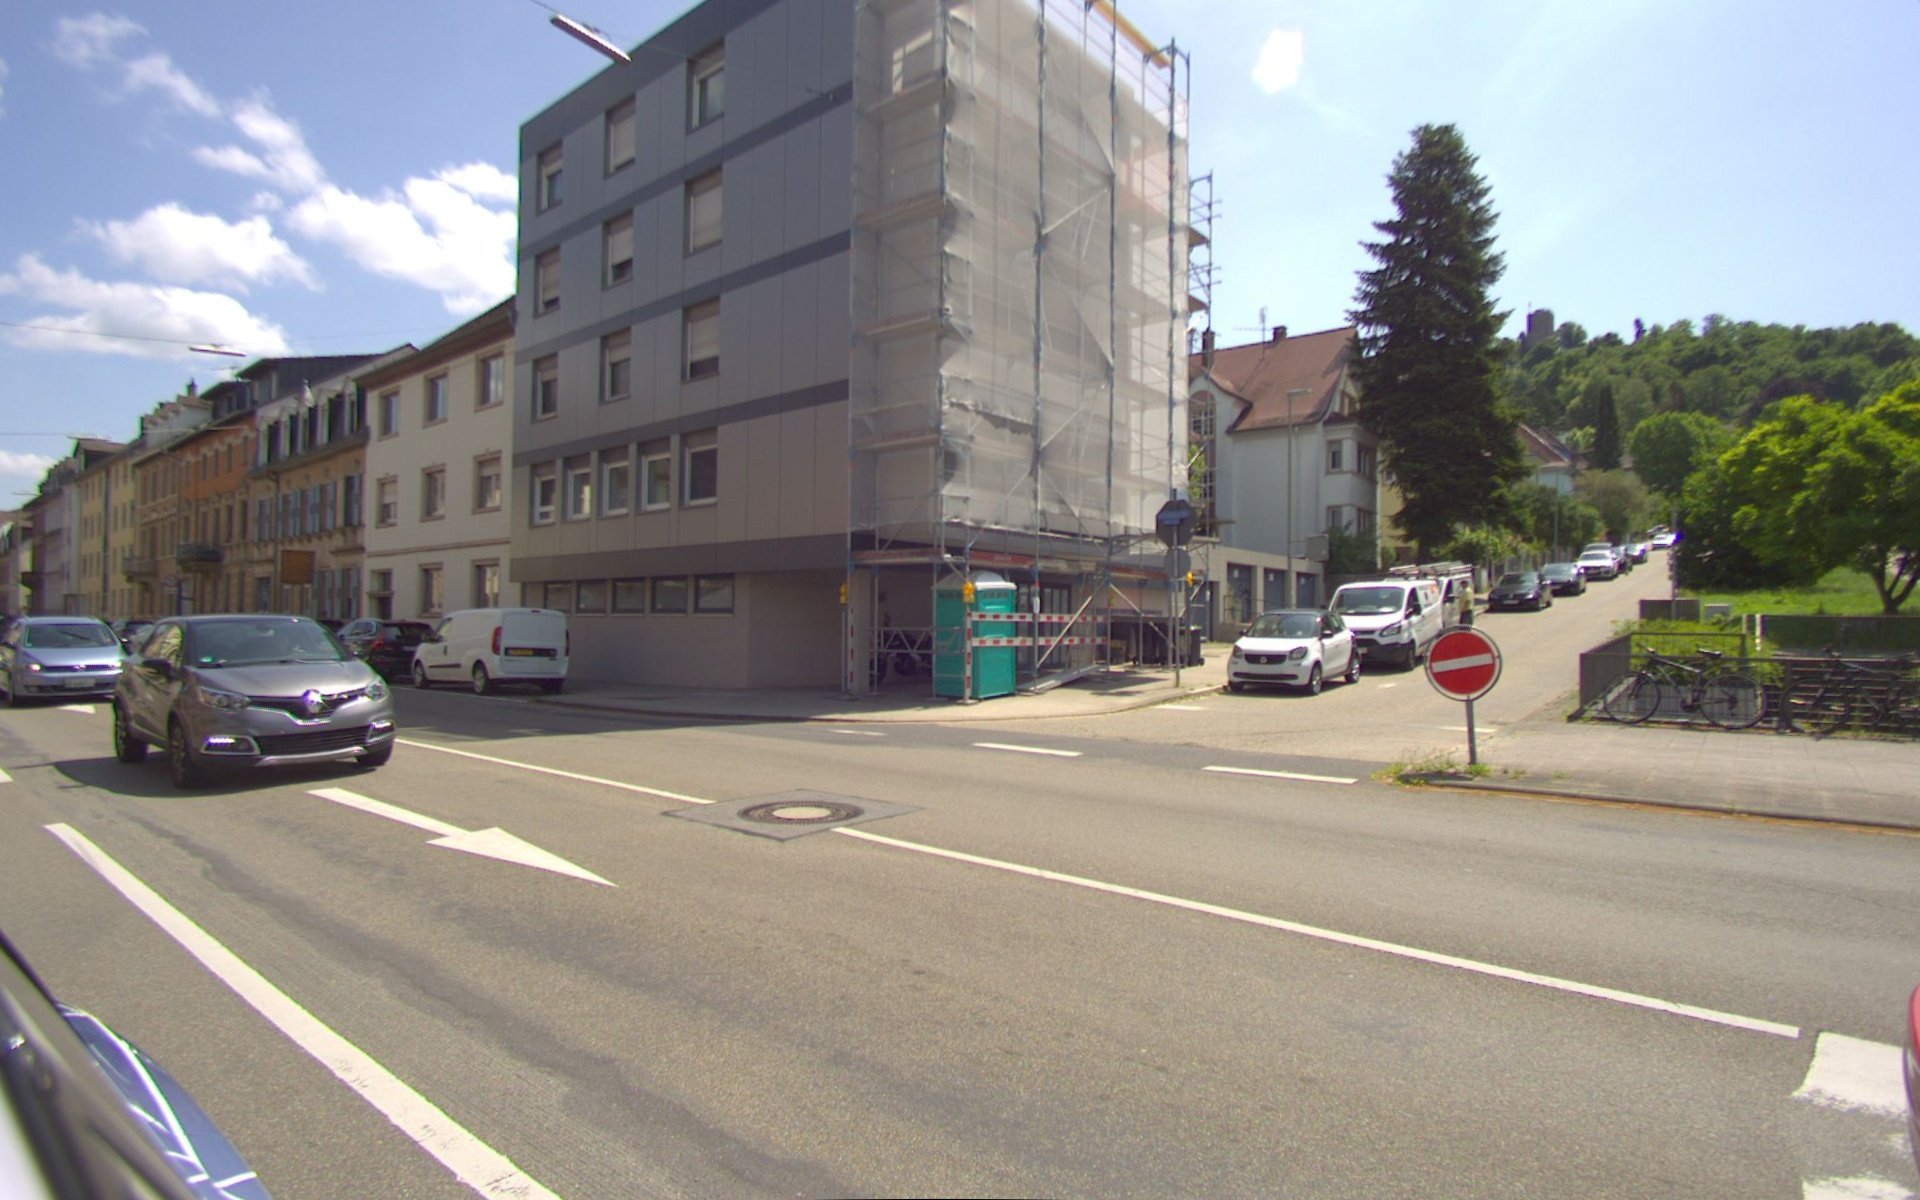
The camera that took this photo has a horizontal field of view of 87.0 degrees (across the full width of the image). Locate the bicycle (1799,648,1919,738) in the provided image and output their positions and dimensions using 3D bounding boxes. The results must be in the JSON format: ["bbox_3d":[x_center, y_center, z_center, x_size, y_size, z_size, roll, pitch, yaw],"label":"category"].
[{"bbox_3d":[10.644,1.050,11.447,1.743,0.974,0.393,-1,-2,37],"label":"bicycle"}]

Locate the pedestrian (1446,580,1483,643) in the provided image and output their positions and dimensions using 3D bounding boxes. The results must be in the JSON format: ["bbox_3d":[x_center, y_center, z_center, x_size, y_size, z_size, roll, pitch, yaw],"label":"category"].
[{"bbox_3d":[14.110,0.335,28.323,0.743,1.727,0.702,-1,-2,43],"label":"pedestrian"}]

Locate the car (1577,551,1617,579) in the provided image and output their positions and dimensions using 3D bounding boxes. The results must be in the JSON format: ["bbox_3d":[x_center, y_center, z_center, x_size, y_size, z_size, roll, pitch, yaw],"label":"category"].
[{"bbox_3d":[35.983,-1.975,57.132,1.754,1.458,3.696,-1,2,35],"label":"car"}]

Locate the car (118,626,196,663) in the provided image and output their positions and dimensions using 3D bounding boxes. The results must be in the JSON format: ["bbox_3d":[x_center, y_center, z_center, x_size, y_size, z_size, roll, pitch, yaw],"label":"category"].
[{"bbox_3d":[-35.477,1.963,44.664,4.329,1.437,1.845,-1,-6,41],"label":"car"}]

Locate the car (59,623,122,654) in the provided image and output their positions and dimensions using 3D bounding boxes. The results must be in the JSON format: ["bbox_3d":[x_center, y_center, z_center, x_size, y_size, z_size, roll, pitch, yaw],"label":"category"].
[{"bbox_3d":[-48.085,2.110,55.960,4.497,1.563,1.846,-1,-5,40],"label":"car"}]

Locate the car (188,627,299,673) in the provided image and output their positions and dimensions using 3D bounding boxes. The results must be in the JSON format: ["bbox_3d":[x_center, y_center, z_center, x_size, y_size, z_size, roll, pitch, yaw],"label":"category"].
[{"bbox_3d":[-25.168,1.732,35.483,4.832,1.417,1.846,0,-5,39],"label":"car"}]

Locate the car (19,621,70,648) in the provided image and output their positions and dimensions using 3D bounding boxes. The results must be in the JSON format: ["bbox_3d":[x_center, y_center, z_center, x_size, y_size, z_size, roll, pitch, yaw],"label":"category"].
[{"bbox_3d":[-59.820,2.247,66.108,4.312,1.563,1.845,-1,-6,41],"label":"car"}]

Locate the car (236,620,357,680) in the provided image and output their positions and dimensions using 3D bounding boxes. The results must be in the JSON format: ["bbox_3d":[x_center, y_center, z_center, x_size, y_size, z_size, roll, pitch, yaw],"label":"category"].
[{"bbox_3d":[-20.193,1.481,30.716,4.816,1.653,1.864,-1,-3,42],"label":"car"}]

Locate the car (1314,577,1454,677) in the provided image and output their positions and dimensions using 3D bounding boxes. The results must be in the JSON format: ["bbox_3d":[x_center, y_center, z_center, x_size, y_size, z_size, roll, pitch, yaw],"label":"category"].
[{"bbox_3d":[10.201,0.544,24.122,1.996,2.028,4.952,-1,1,36],"label":"car"}]

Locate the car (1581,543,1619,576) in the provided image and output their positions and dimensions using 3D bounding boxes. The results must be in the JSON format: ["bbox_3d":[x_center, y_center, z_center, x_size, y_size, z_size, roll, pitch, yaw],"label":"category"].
[{"bbox_3d":[38.208,-2.444,60.385,1.754,1.828,3.696,-1,2,35],"label":"car"}]

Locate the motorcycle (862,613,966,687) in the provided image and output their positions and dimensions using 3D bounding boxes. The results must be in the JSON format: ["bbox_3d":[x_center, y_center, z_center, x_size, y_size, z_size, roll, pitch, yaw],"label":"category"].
[{"bbox_3d":[-0.963,1.010,20.848,2.009,1.483,0.884,0,-1,-11],"label":"motorcycle"}]

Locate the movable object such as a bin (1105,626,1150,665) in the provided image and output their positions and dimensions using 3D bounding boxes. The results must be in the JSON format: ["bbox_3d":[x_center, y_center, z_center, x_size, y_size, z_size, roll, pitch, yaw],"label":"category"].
[{"bbox_3d":[4.132,1.104,24.998,0.826,0.933,0.730,-1,-1,42],"label":"movable object such as a bin"}]

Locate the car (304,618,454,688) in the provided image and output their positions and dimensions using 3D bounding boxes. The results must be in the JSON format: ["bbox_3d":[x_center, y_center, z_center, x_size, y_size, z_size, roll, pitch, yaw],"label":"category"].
[{"bbox_3d":[-15.292,1.343,26.543,4.659,1.653,1.865,-1,-3,40],"label":"car"}]

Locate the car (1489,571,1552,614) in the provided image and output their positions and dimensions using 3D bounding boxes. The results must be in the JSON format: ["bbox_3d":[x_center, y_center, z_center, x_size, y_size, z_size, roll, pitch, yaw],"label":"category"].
[{"bbox_3d":[21.660,-0.316,39.076,1.754,1.458,3.696,-1,2,35],"label":"car"}]

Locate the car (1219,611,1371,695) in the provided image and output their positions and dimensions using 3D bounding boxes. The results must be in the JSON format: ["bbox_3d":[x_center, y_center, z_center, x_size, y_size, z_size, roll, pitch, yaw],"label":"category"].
[{"bbox_3d":[6.702,0.977,20.029,1.755,1.458,3.692,-1,-1,37],"label":"car"}]

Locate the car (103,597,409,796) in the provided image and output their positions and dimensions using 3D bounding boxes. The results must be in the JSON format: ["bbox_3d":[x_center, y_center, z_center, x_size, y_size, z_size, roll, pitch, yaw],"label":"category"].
[{"bbox_3d":[-7.319,0.840,10.379,3.999,1.644,1.735,-1,-1,42],"label":"car"}]

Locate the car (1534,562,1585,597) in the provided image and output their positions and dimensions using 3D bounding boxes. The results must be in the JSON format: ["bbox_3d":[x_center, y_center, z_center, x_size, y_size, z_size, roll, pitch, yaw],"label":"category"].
[{"bbox_3d":[27.698,-0.975,46.745,1.754,1.458,3.696,-1,2,35],"label":"car"}]

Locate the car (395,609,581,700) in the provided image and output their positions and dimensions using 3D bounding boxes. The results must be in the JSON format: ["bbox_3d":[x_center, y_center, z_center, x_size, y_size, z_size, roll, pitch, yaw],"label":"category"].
[{"bbox_3d":[-10.671,1.168,22.713,4.785,1.839,1.894,-1,-3,40],"label":"car"}]

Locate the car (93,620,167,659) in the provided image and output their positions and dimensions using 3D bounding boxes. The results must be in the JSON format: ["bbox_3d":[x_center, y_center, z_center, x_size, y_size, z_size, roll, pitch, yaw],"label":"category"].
[{"bbox_3d":[-39.496,1.859,48.122,4.497,1.640,1.846,-1,-5,40],"label":"car"}]

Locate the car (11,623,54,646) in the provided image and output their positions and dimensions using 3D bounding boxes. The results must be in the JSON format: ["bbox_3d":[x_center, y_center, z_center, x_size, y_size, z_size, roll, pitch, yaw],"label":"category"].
[{"bbox_3d":[-63.503,2.332,69.278,3.914,1.421,1.726,-1,-6,43],"label":"car"}]

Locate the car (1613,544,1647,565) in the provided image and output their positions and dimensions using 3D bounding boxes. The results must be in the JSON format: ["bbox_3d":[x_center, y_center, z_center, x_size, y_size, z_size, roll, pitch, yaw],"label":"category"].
[{"bbox_3d":[48.742,-3.321,73.632,1.756,1.458,3.692,-1,2,38],"label":"car"}]

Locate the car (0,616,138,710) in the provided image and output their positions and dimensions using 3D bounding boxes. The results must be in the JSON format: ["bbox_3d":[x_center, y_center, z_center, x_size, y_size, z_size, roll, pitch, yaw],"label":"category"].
[{"bbox_3d":[-16.925,1.094,18.984,3.999,1.580,1.735,-1,-2,42],"label":"car"}]

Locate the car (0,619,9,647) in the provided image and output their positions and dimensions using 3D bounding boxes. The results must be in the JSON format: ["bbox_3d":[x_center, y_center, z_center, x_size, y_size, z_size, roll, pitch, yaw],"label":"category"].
[{"bbox_3d":[-58.110,1.942,60.296,4.311,1.587,1.683,-1,-3,42],"label":"car"}]

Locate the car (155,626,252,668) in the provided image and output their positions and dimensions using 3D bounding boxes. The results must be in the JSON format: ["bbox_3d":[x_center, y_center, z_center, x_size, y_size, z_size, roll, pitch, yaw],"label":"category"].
[{"bbox_3d":[-29.222,1.807,39.036,4.325,1.417,1.847,0,-5,38],"label":"car"}]

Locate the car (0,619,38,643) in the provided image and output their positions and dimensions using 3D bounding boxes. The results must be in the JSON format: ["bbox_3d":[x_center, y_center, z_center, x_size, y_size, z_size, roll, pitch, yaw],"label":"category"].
[{"bbox_3d":[-68.539,2.265,73.381,1.721,1.600,3.963,6,-5,-33],"label":"car"}]

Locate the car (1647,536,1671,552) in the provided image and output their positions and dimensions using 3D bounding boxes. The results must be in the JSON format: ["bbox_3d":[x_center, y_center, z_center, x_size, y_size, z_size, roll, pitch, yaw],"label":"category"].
[{"bbox_3d":[70.136,-5.588,101.494,1.756,1.458,3.692,-1,2,38],"label":"car"}]

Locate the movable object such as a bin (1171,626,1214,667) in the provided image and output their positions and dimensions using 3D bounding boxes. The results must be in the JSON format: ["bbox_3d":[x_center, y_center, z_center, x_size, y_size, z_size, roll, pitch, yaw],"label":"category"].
[{"bbox_3d":[5.437,1.084,23.685,0.703,0.933,0.730,-1,-1,42],"label":"movable object such as a bin"}]

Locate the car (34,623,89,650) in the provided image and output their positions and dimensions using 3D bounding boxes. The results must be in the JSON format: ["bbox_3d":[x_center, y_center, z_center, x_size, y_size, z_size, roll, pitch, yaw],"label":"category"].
[{"bbox_3d":[-54.835,2.241,61.750,4.684,1.463,1.884,-1,-6,42],"label":"car"}]

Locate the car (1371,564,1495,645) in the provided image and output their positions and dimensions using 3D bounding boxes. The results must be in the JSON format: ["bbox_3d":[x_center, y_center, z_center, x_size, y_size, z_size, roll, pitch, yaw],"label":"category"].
[{"bbox_3d":[14.396,0.070,30.646,2.074,2.193,4.944,-1,1,41],"label":"car"}]

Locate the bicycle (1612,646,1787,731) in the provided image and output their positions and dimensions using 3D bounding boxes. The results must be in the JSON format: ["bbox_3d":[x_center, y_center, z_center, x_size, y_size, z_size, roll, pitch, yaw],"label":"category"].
[{"bbox_3d":[9.138,1.070,12.562,1.716,0.974,0.393,-1,-2,37],"label":"bicycle"}]

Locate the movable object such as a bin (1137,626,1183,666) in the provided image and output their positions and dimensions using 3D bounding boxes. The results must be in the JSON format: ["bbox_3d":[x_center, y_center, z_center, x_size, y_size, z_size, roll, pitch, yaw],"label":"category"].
[{"bbox_3d":[4.795,1.083,24.249,0.826,0.933,0.730,-1,-1,42],"label":"movable object such as a bin"}]
